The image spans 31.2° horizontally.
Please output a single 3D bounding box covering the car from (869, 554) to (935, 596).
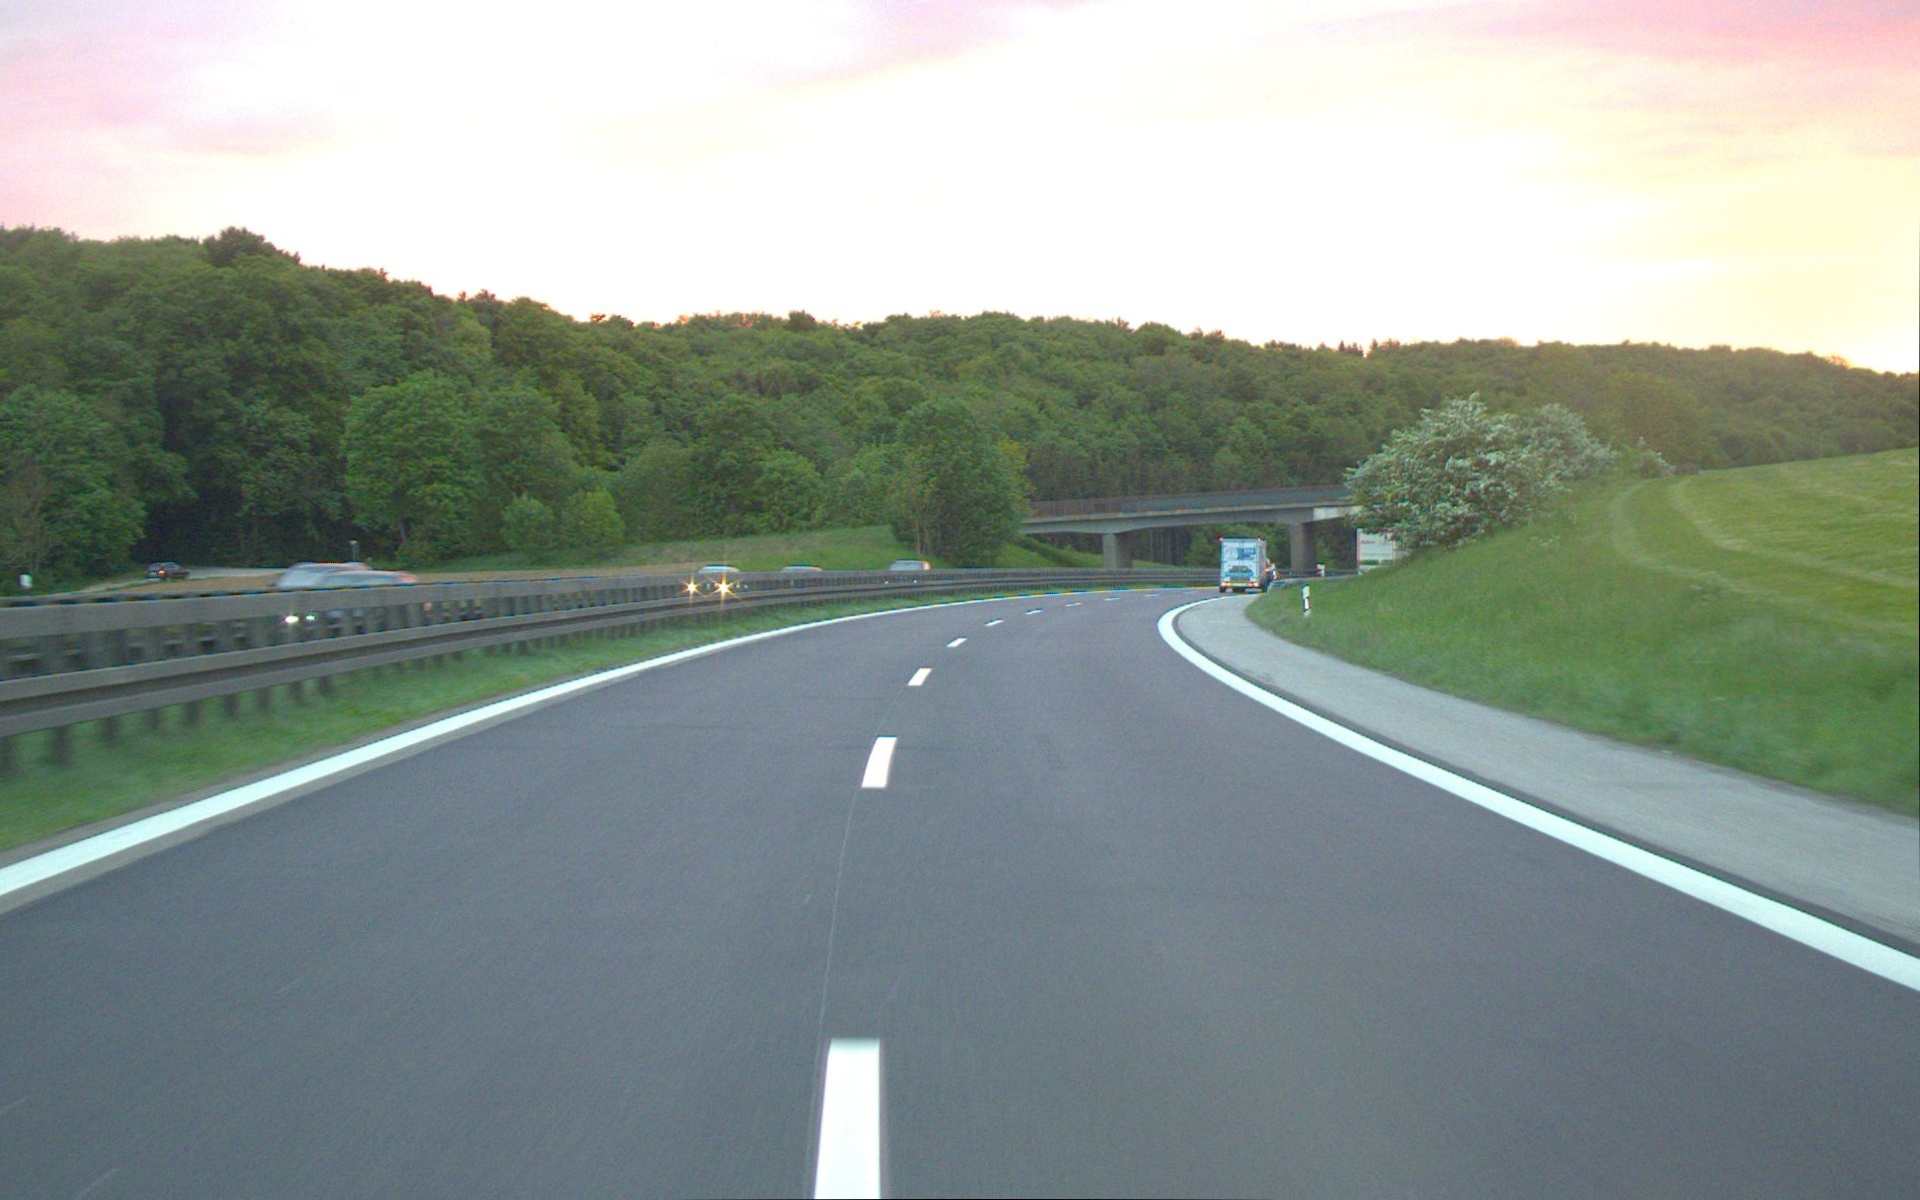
[{"bbox_3d":[-2.440,-1.051,145.698,1.994,1.721,4.769,1,0,9],"label":"car"}]

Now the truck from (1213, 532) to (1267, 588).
[{"bbox_3d":[13.807,-1.987,169.401,2.276,2.656,5.234,-2,1,8],"label":"truck"}]

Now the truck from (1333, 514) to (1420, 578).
[{"bbox_3d":[29.019,-3.689,238.834,3.961,4.272,14.313,0,0,15],"label":"truck"}]
